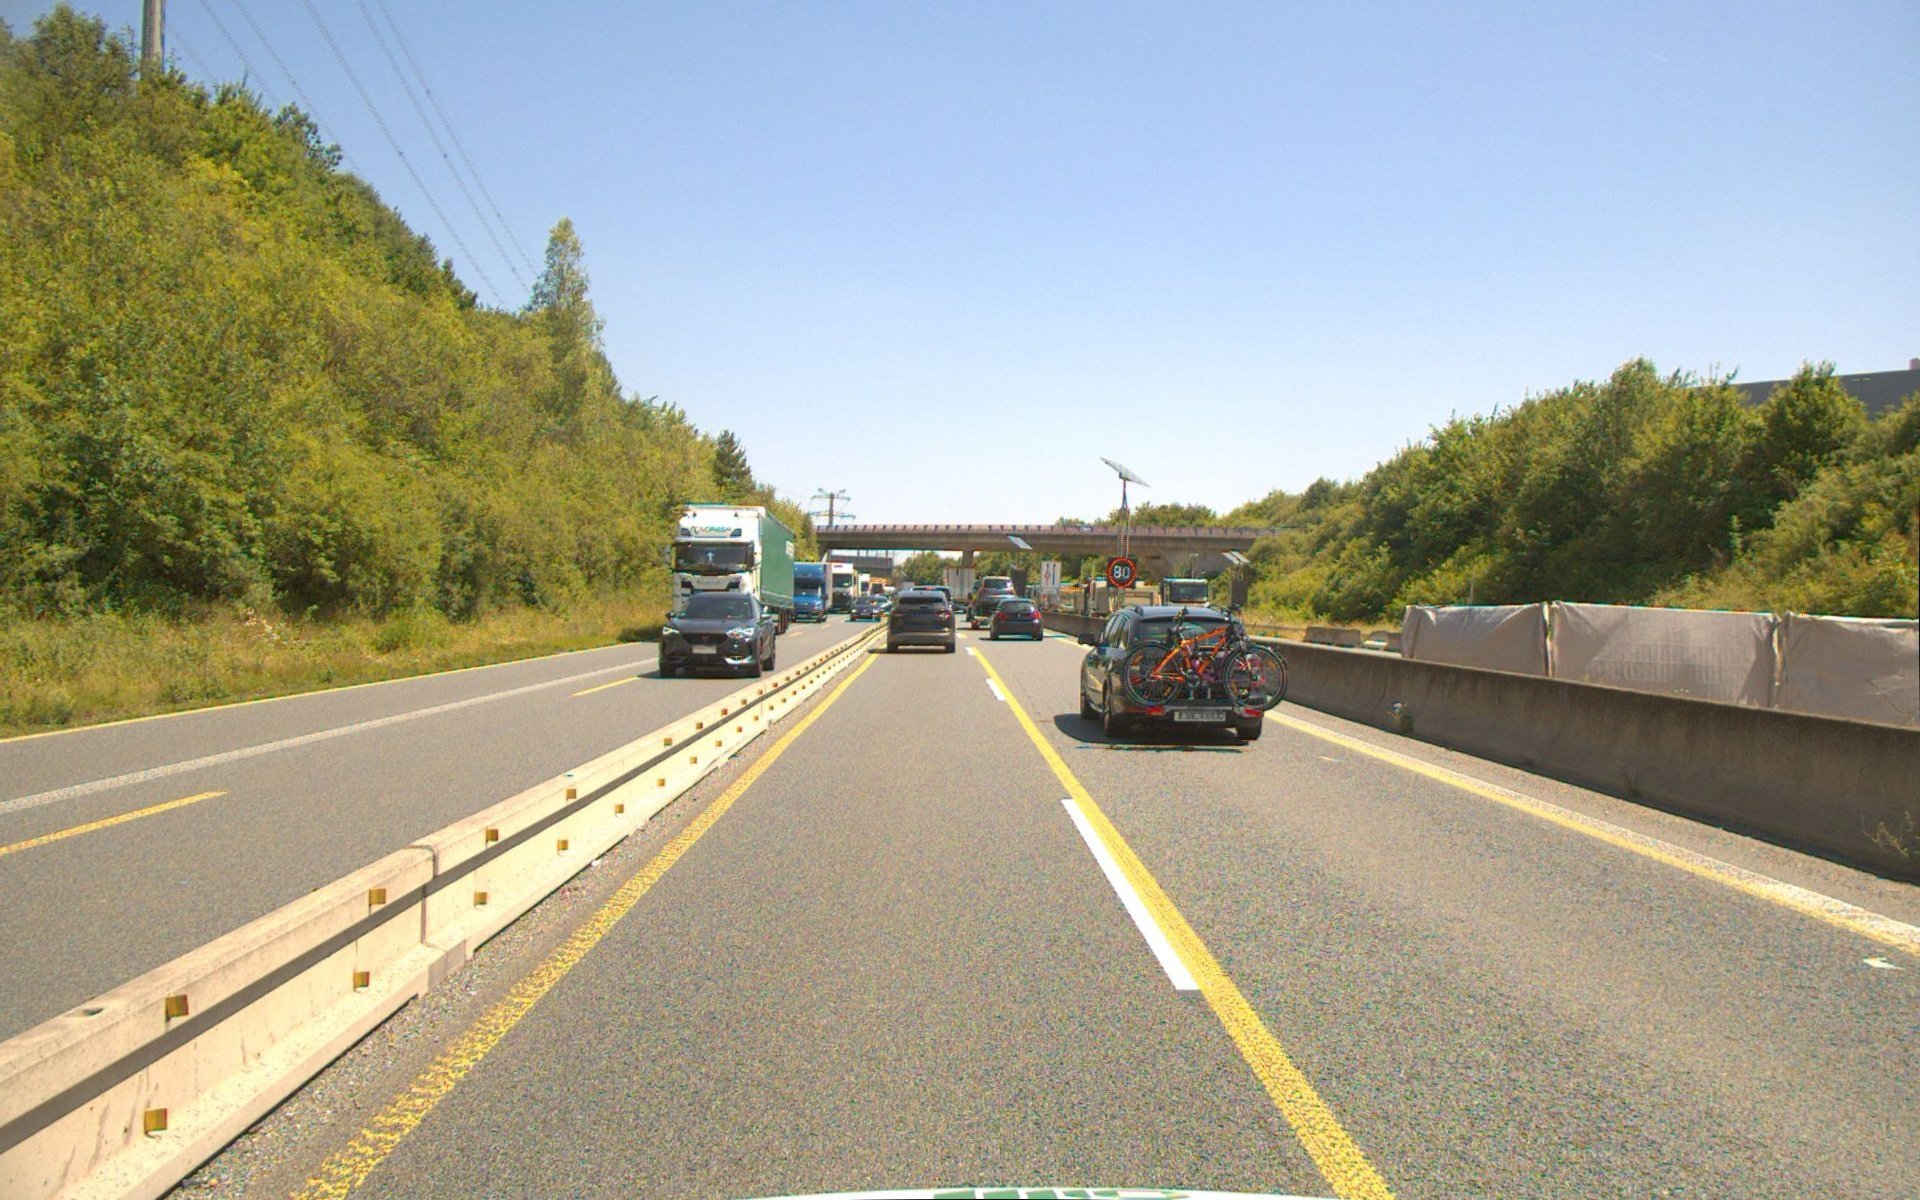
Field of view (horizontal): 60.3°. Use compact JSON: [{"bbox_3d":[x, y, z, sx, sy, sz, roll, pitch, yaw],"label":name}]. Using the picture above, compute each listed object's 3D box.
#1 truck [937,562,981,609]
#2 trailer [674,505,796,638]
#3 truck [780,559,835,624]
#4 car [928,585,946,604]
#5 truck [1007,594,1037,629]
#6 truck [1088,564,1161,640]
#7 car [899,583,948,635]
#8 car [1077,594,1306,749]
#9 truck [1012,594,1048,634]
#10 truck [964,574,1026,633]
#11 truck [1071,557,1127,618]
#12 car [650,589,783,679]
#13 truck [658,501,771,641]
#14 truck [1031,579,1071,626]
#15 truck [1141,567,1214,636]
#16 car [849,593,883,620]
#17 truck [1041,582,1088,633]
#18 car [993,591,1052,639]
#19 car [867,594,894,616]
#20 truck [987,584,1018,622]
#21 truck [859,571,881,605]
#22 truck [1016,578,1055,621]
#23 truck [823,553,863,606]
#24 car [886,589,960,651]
[{"bbox_3d":[-0.146,-1.238,146.135,3.227,3.912,10.102,1,0,-4],"label":"truck"},{"bbox_3d":[-7.861,-0.933,59.615,2.833,4.197,13.240,1,0,-1],"label":"trailer"},{"bbox_3d":[-8.350,-0.497,91.119,2.356,3.388,7.499,1,0,0],"label":"truck"},{"bbox_3d":[-2.529,-0.606,180.728,1.860,2.003,4.275,1,0,-1],"label":"car"},{"bbox_3d":[7.028,1.274,188.198,2.633,3.923,9.321,1,0,-2],"label":"truck"},{"bbox_3d":[8.091,0.076,82.321,2.482,3.572,9.094,1,0,-2],"label":"truck"},{"bbox_3d":[-1.448,0.361,66.532,1.860,2.003,4.275,1,0,-1],"label":"car"},{"bbox_3d":[2.484,0.726,18.974,1.860,1.516,4.946,1,0,-1],"label":"car"},{"bbox_3d":[6.554,1.234,156.040,2.633,3.619,9.321,1,0,-2],"label":"truck"},{"bbox_3d":[1.563,0.132,77.150,2.357,2.603,7.496,1,0,-3],"label":"truck"},{"bbox_3d":[8.707,-0.785,104.524,2.487,3.619,9.599,1,0,-2],"label":"truck"},{"bbox_3d":[-4.467,0.599,30.910,1.860,1.531,4.275,1,0,-1],"label":"car"},{"bbox_3d":[-7.701,-0.874,52.571,2.836,4.190,6.018,0,0,-1],"label":"truck"},{"bbox_3d":[7.337,0.194,134.605,2.632,3.619,9.404,1,0,-1],"label":"truck"},{"bbox_3d":[11.797,0.071,90.286,2.633,3.572,8.377,1,0,-2],"label":"truck"},{"bbox_3d":[-5.449,0.377,96.155,1.725,1.516,4.401,1,0,0],"label":"car"},{"bbox_3d":[7.740,0.503,123.242,2.633,3.619,9.600,1,0,-1],"label":"truck"},{"bbox_3d":[2.150,0.506,57.997,1.860,1.613,4.276,1,0,0],"label":"car"},{"bbox_3d":[-5.753,0.363,119.835,1.804,1.516,4.509,0,0,-2],"label":"car"},{"bbox_3d":[4.412,0.309,174.303,2.633,3.826,9.321,1,0,-2],"label":"truck"},{"bbox_3d":[-11.134,-1.425,206.122,2.361,4.062,10.349,2,0,-2],"label":"truck"},{"bbox_3d":[6.627,-0.030,145.922,2.633,3.619,9.321,1,0,-2],"label":"truck"},{"bbox_3d":[-9.544,-1.615,135.675,2.596,4.061,9.649,2,0,-1],"label":"truck"},{"bbox_3d":[-0.970,0.514,44.396,1.860,1.531,4.275,1,0,-1],"label":"car"}]
